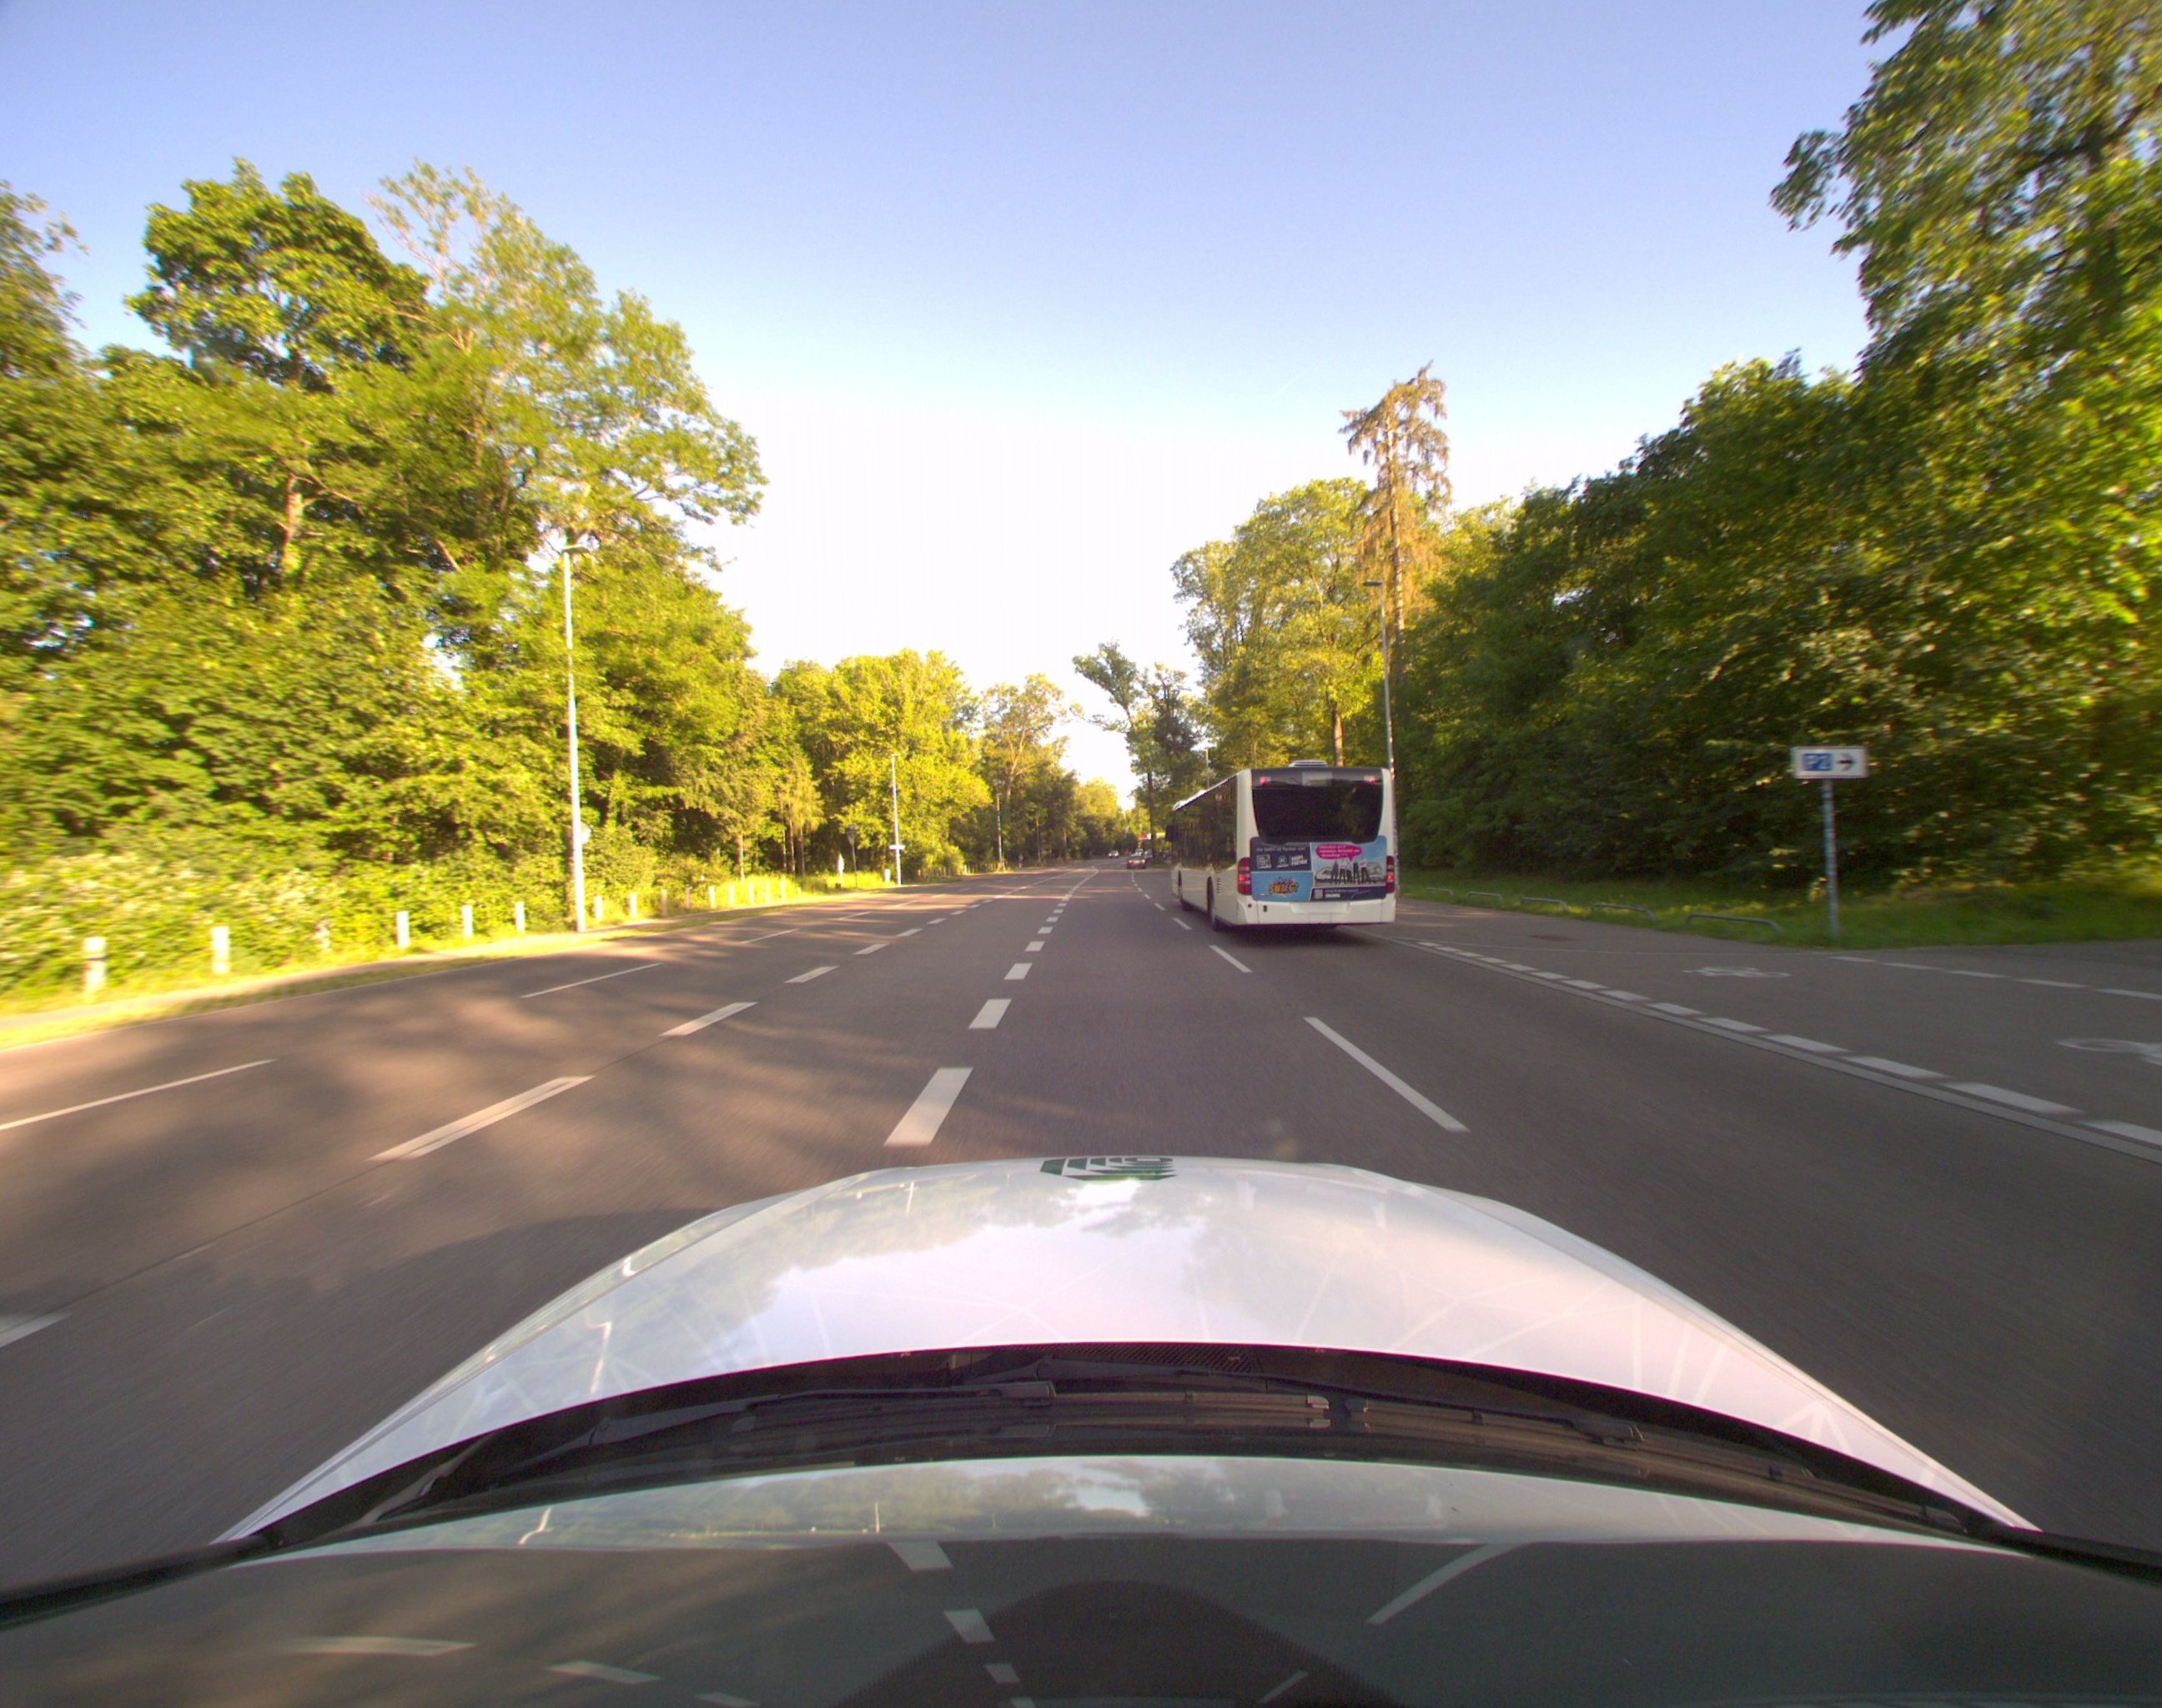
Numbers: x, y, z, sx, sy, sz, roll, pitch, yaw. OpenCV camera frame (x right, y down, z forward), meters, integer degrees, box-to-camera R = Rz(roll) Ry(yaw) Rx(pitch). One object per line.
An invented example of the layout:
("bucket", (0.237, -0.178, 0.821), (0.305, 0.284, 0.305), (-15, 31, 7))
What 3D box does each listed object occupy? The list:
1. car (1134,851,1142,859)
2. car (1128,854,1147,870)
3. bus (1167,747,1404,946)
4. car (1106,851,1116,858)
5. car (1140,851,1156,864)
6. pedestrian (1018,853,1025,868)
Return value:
("car", (13.911, 0.228, 199.816), (1.855, 1.729, 4.003), (-2, 0, 3))
("car", (5.495, 0.765, 78.389), (1.623, 1.547, 4.139), (-1, -1, 6))
("bus", (3.801, -0.071, 18.654), (2.679, 3.042, 12.044), (-1, 0, 2))
("car", (6.664, 0.061, 178.009), (1.853, 1.537, 4.139), (-1, -1, 6))
("car", (9.038, 0.513, 109.196), (1.621, 1.659, 4.145), (-1, -1, 11))
("pedestrian", (-7.683, 0.851, 104.879), (0.776, 1.812, 0.770), (-2, 0, 2))
